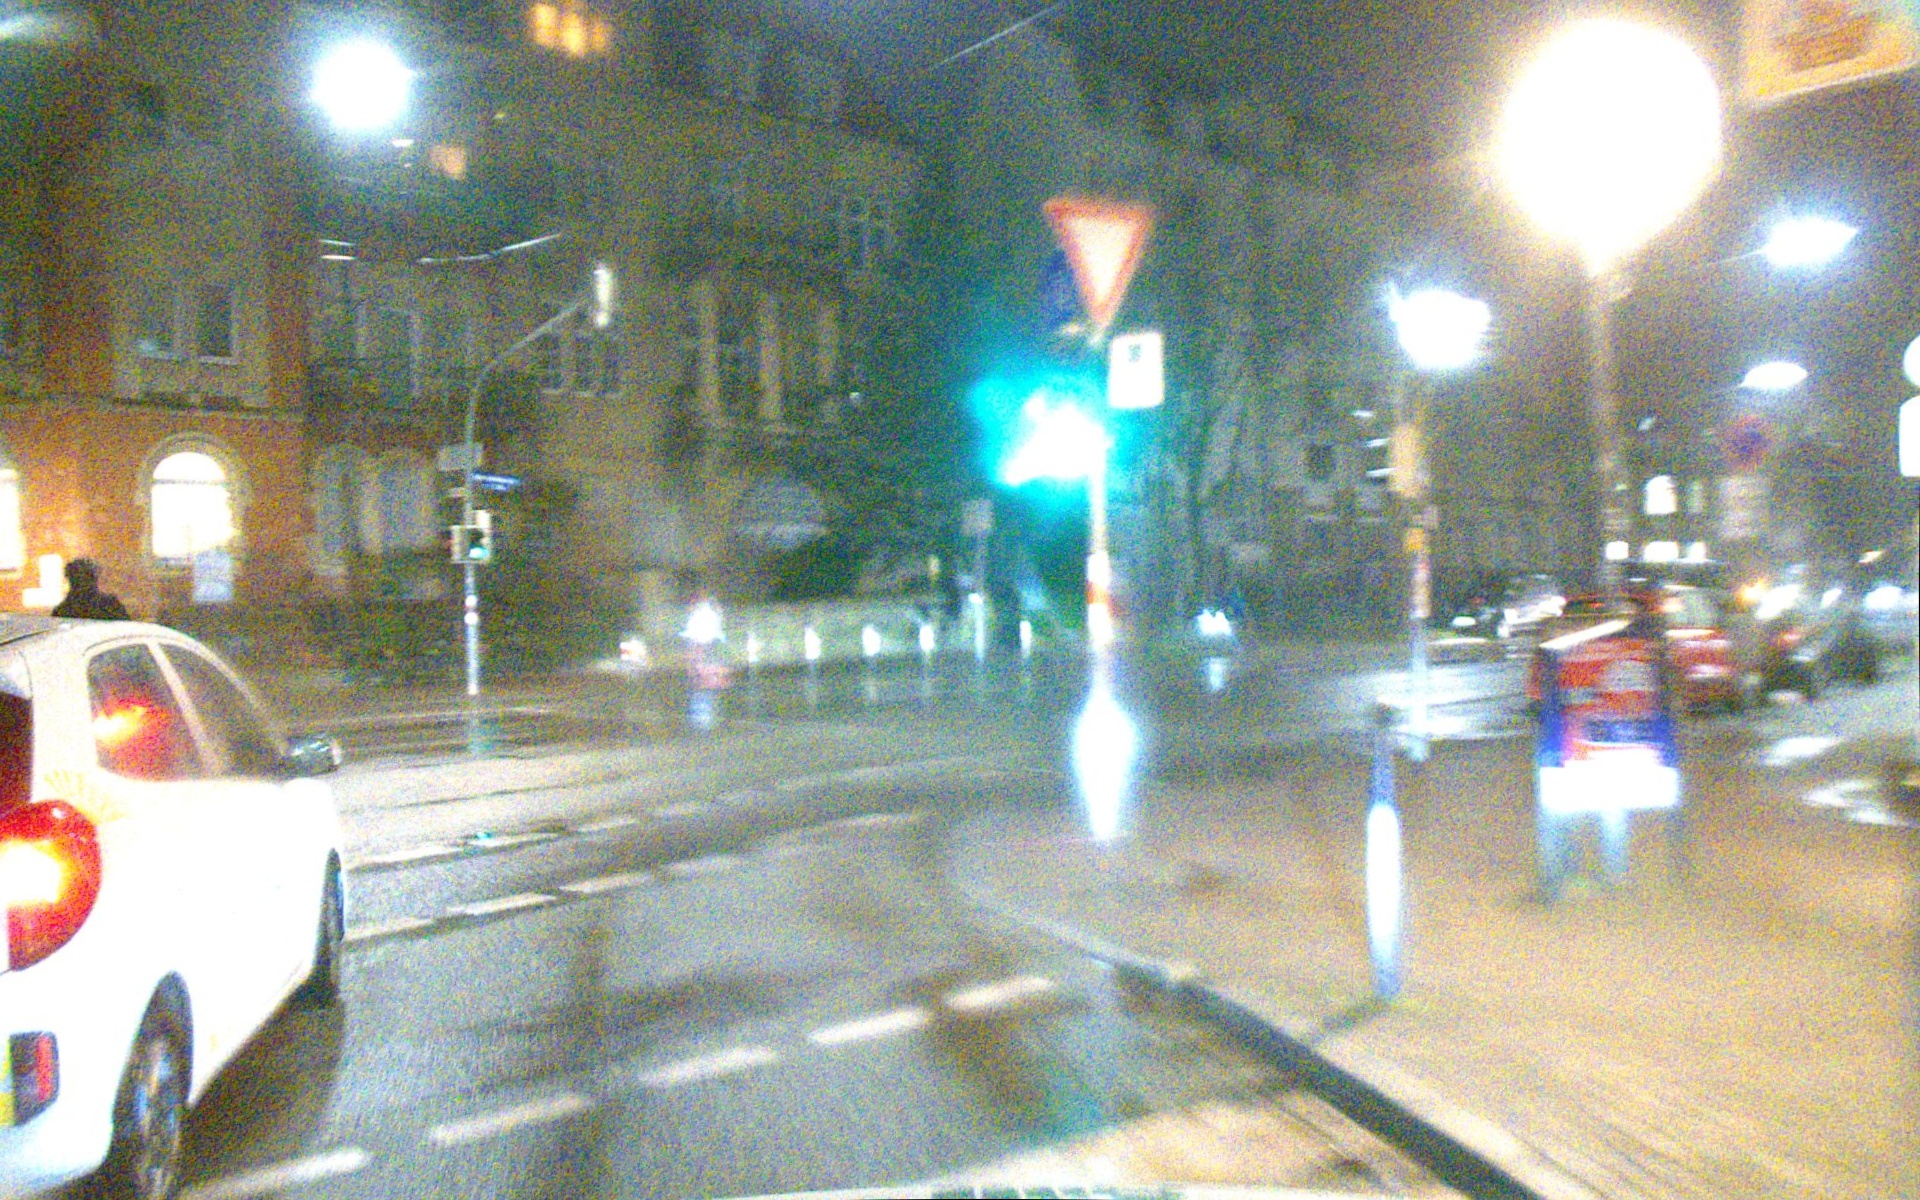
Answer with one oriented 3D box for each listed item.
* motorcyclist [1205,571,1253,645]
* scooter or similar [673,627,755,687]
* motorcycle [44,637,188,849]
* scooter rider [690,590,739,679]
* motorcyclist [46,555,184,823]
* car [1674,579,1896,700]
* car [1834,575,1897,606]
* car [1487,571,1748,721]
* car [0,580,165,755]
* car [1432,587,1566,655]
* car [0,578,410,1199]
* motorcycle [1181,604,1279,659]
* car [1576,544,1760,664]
[{"bbox_3d":[6.549,0.199,40.302,1.004,1.761,0.710,-2,-2,2],"label":"motorcyclist"},{"bbox_3d":[-4.557,1.046,30.682,1.353,1.070,0.634,1,1,-35],"label":"scooter or similar"},{"bbox_3d":[-5.797,0.902,11.294,0.781,1.234,2.228,1,0,-29],"label":"motorcycle"},{"bbox_3d":[-4.556,0.634,30.677,0.645,1.600,0.634,1,1,-35],"label":"scooter rider"},{"bbox_3d":[-5.736,0.575,11.215,0.781,1.724,0.812,1,0,-30],"label":"motorcyclist"},{"bbox_3d":[11.579,0.515,23.099,1.622,1.467,4.030,-6,-3,43],"label":"car"},{"bbox_3d":[44.176,-0.454,80.678,1.646,1.410,3.972,3,2,45],"label":"car"},{"bbox_3d":[7.867,0.513,19.648,1.624,1.551,3.557,-6,-3,43],"label":"car"},{"bbox_3d":[-10.006,0.672,18.668,1.726,1.770,3.770,1,0,-24],"label":"car"},{"bbox_3d":[17.113,0.609,52.343,1.966,1.857,5.275,3,4,43],"label":"car"},{"bbox_3d":[-2.823,0.719,4.841,1.885,1.542,3.587,-1,1,-12],"label":"car"},{"bbox_3d":[6.562,0.774,40.281,2.270,1.252,0.710,-2,-2,2],"label":"motorcycle"},{"bbox_3d":[15.962,0.041,37.140,2.185,2.484,5.351,1,1,42],"label":"car"}]
